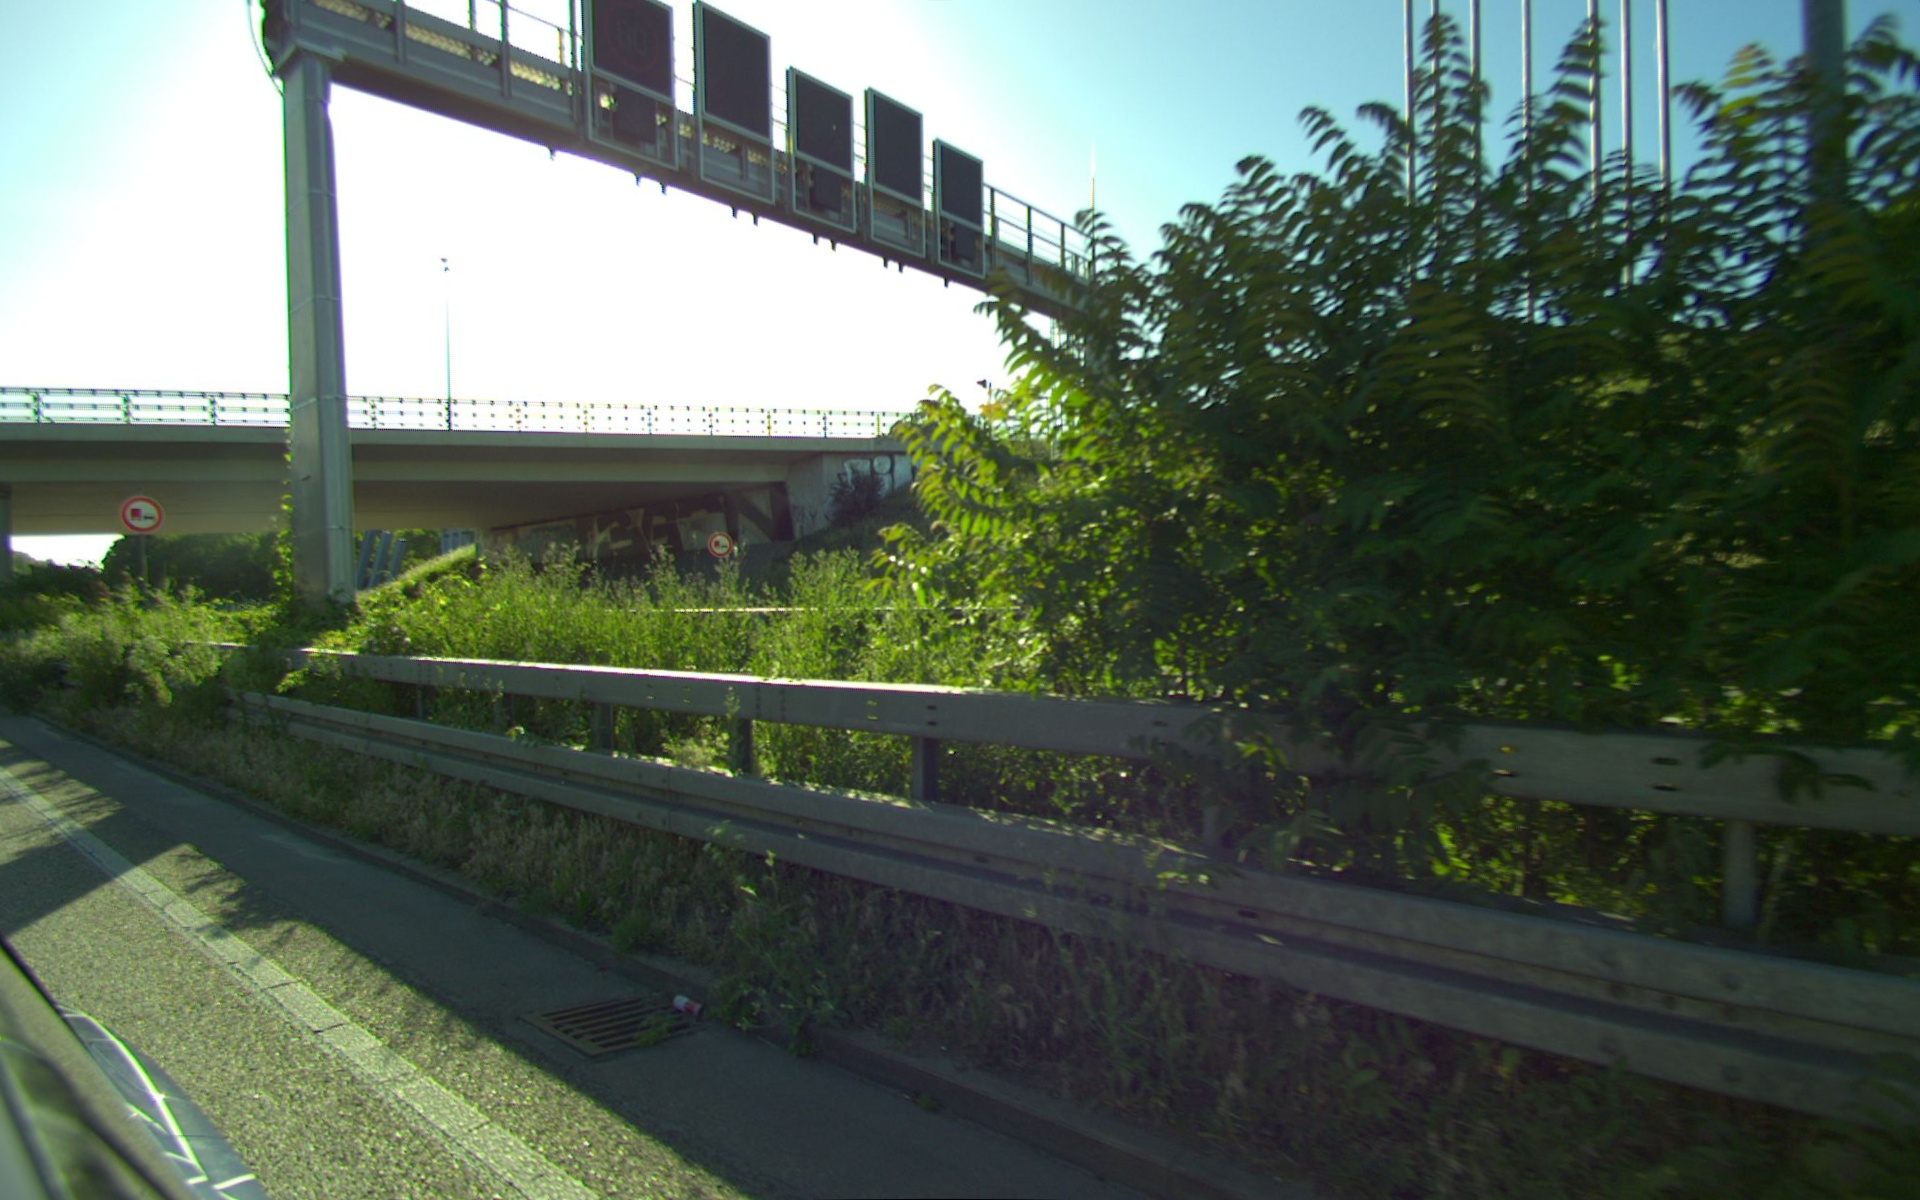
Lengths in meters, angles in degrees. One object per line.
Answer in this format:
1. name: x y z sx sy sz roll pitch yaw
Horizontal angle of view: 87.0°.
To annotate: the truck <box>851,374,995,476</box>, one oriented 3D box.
1. truck: -1.668 -7.865 46.103 6.164 4.101 2.007 -2 1 -21
